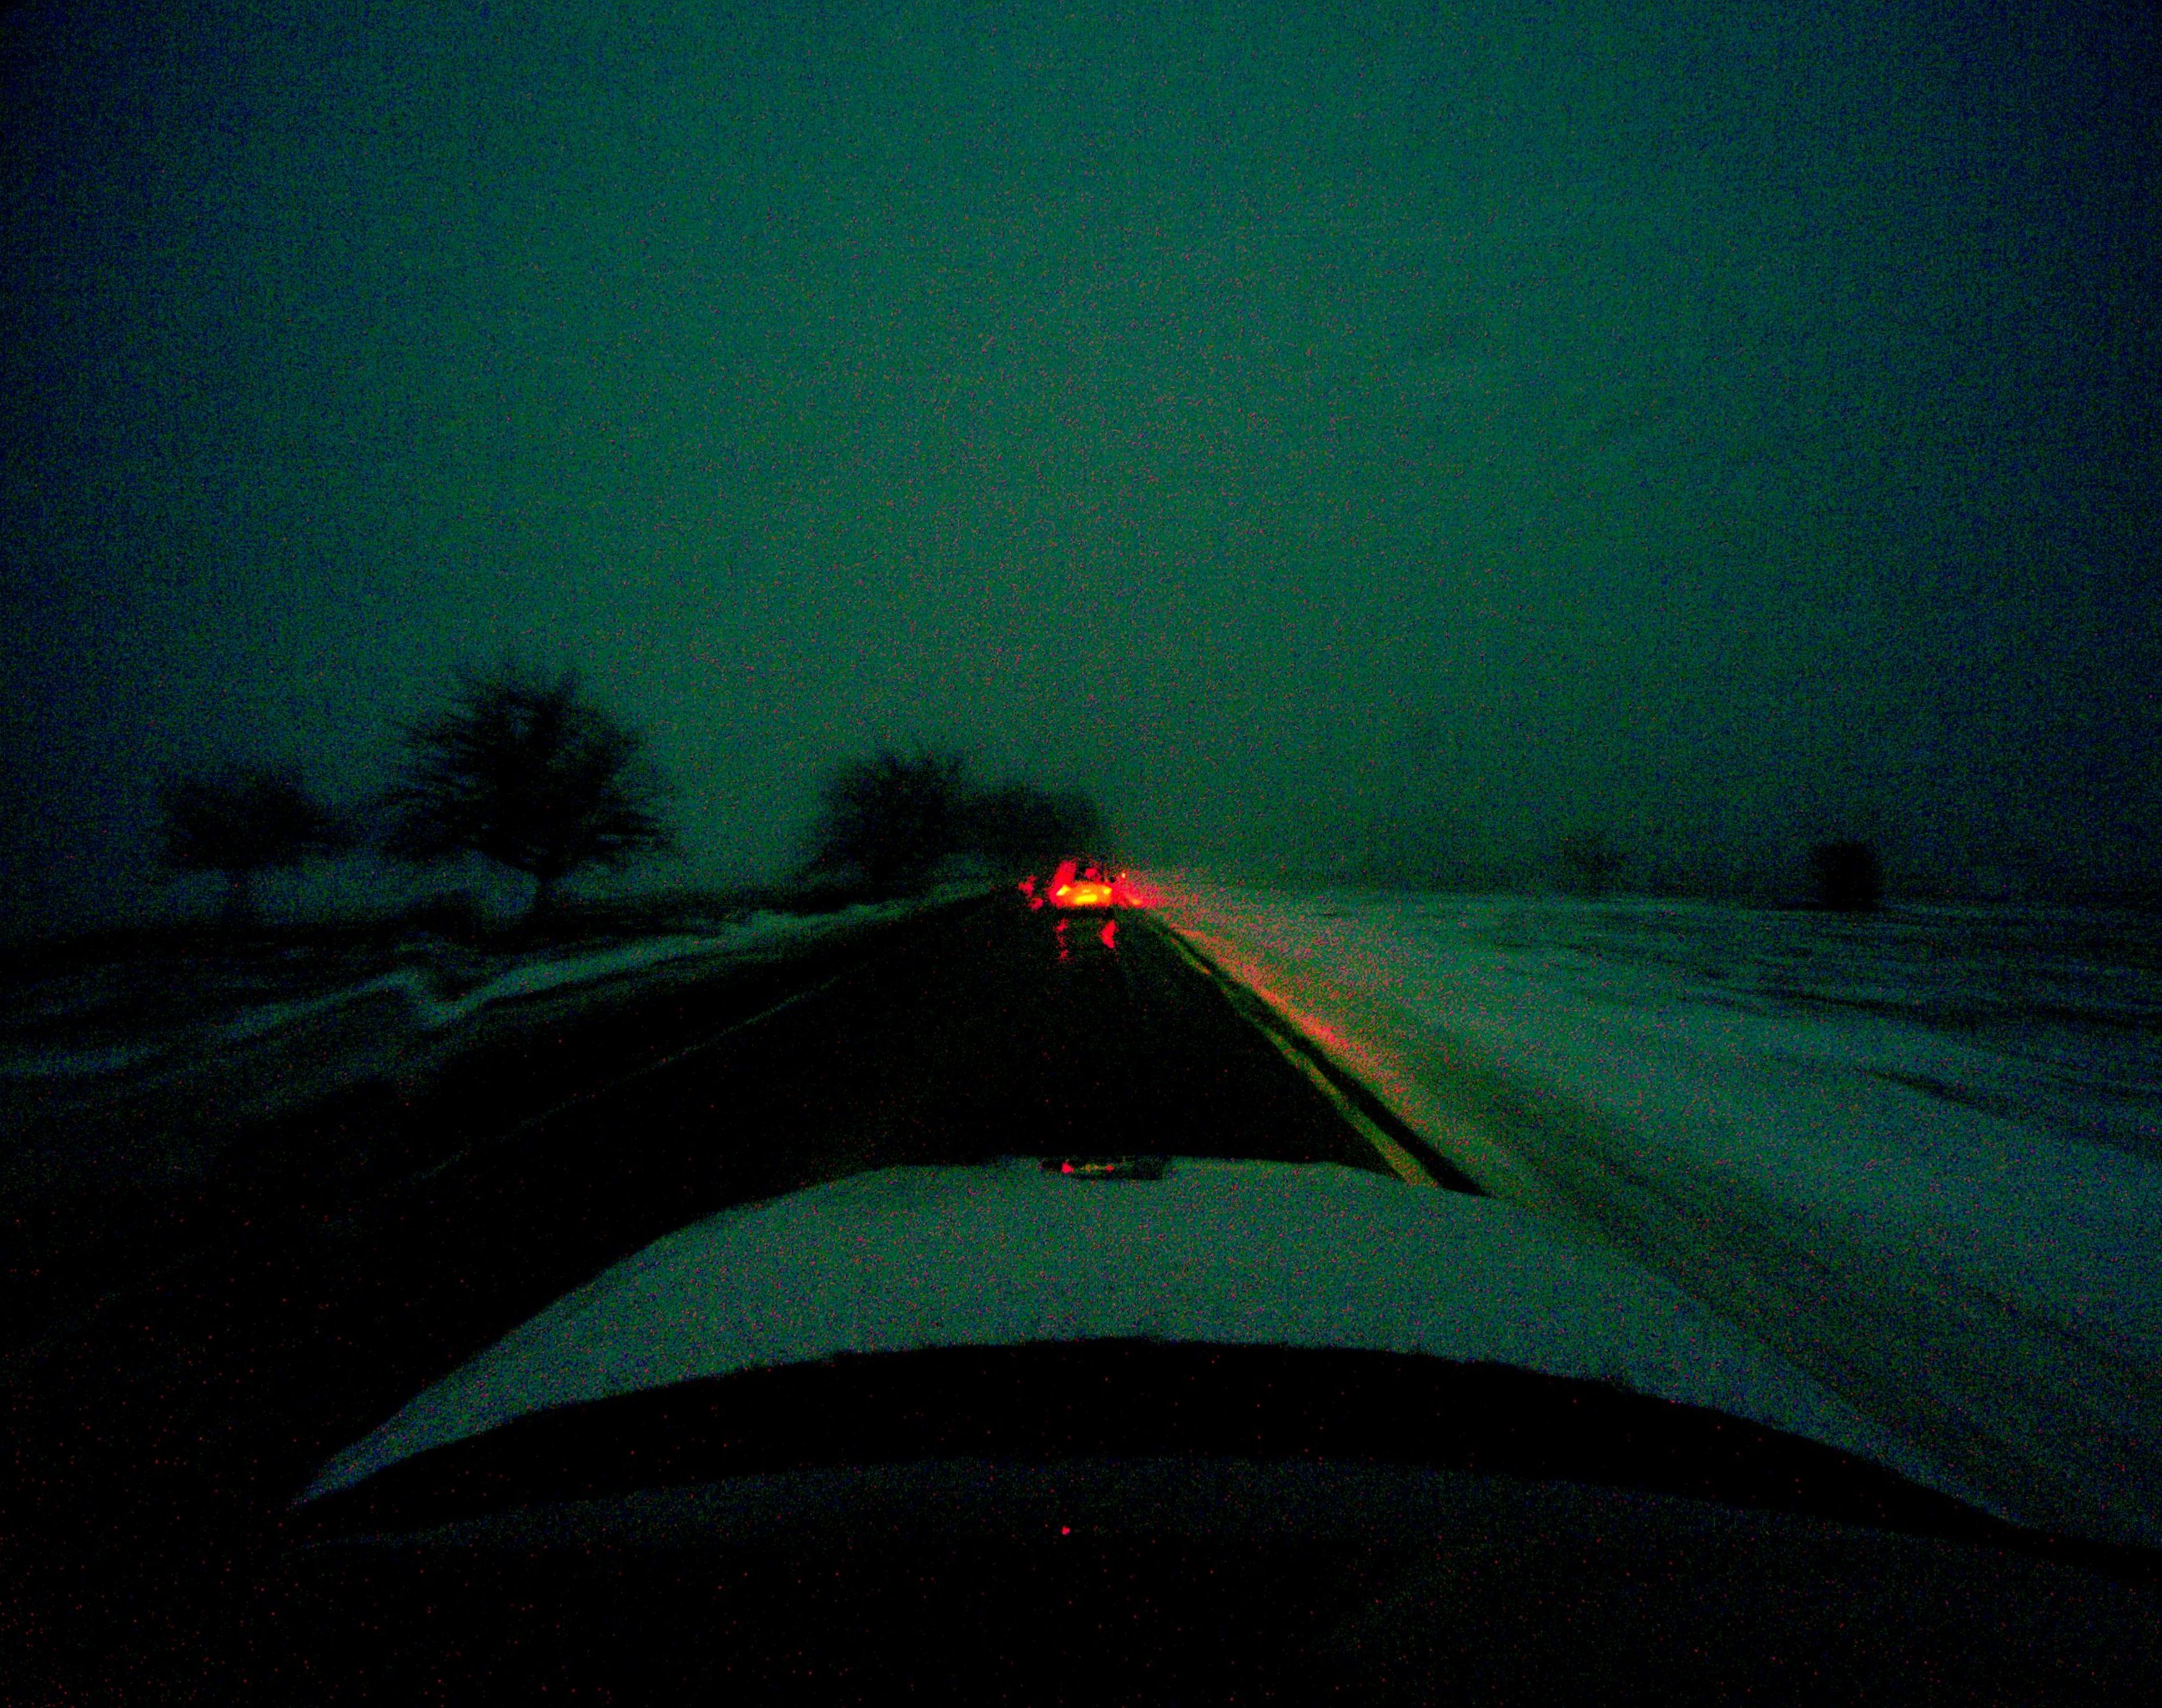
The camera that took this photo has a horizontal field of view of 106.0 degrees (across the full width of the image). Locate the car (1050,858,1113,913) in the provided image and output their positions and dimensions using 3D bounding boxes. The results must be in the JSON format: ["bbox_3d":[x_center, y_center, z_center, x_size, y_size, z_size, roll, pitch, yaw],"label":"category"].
[{"bbox_3d":[0.024,0.876,24.179,1.701,1.463,3.999,1,0,0],"label":"car"}]

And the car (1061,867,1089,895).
[{"bbox_3d":[-0.299,1.539,46.700,1.473,1.508,3.054,-1,-1,2],"label":"car"}]
